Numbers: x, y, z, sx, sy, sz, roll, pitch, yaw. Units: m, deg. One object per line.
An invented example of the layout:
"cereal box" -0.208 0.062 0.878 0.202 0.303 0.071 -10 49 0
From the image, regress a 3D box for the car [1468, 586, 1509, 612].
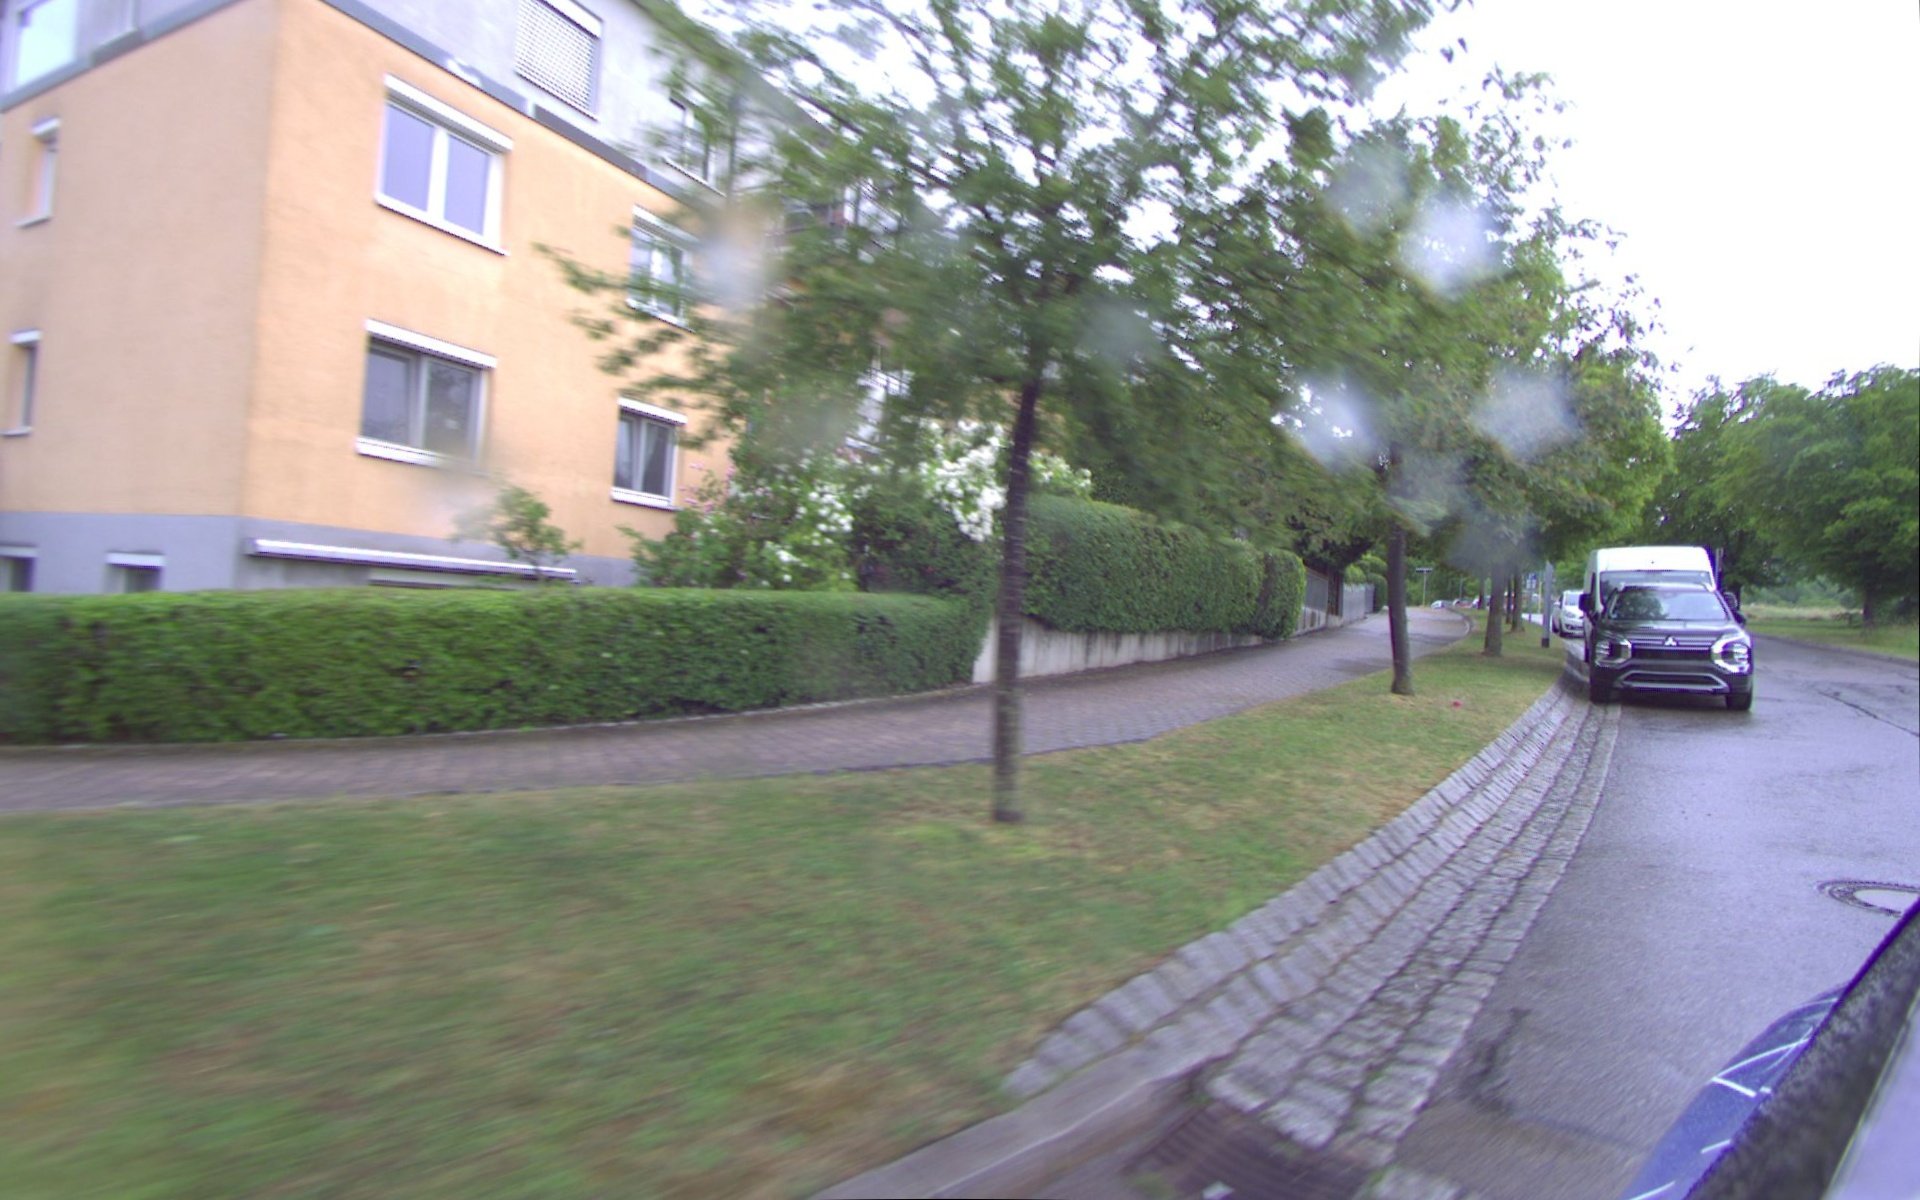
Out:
"car" 41.605 -0.100 79.764 1.948 1.871 3.983 1 2 15

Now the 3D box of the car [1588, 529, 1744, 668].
"car" 13.752 -0.075 20.023 2.037 2.360 5.349 2 1 30

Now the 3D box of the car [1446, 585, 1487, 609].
"car" 42.883 -0.297 85.787 1.944 1.871 3.990 1 2 10

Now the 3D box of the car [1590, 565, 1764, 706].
"car" 10.556 0.373 14.999 1.805 1.748 4.594 2 2 35

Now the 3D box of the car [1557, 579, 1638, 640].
"car" 20.876 0.247 33.286 1.807 1.807 3.786 1 3 26
